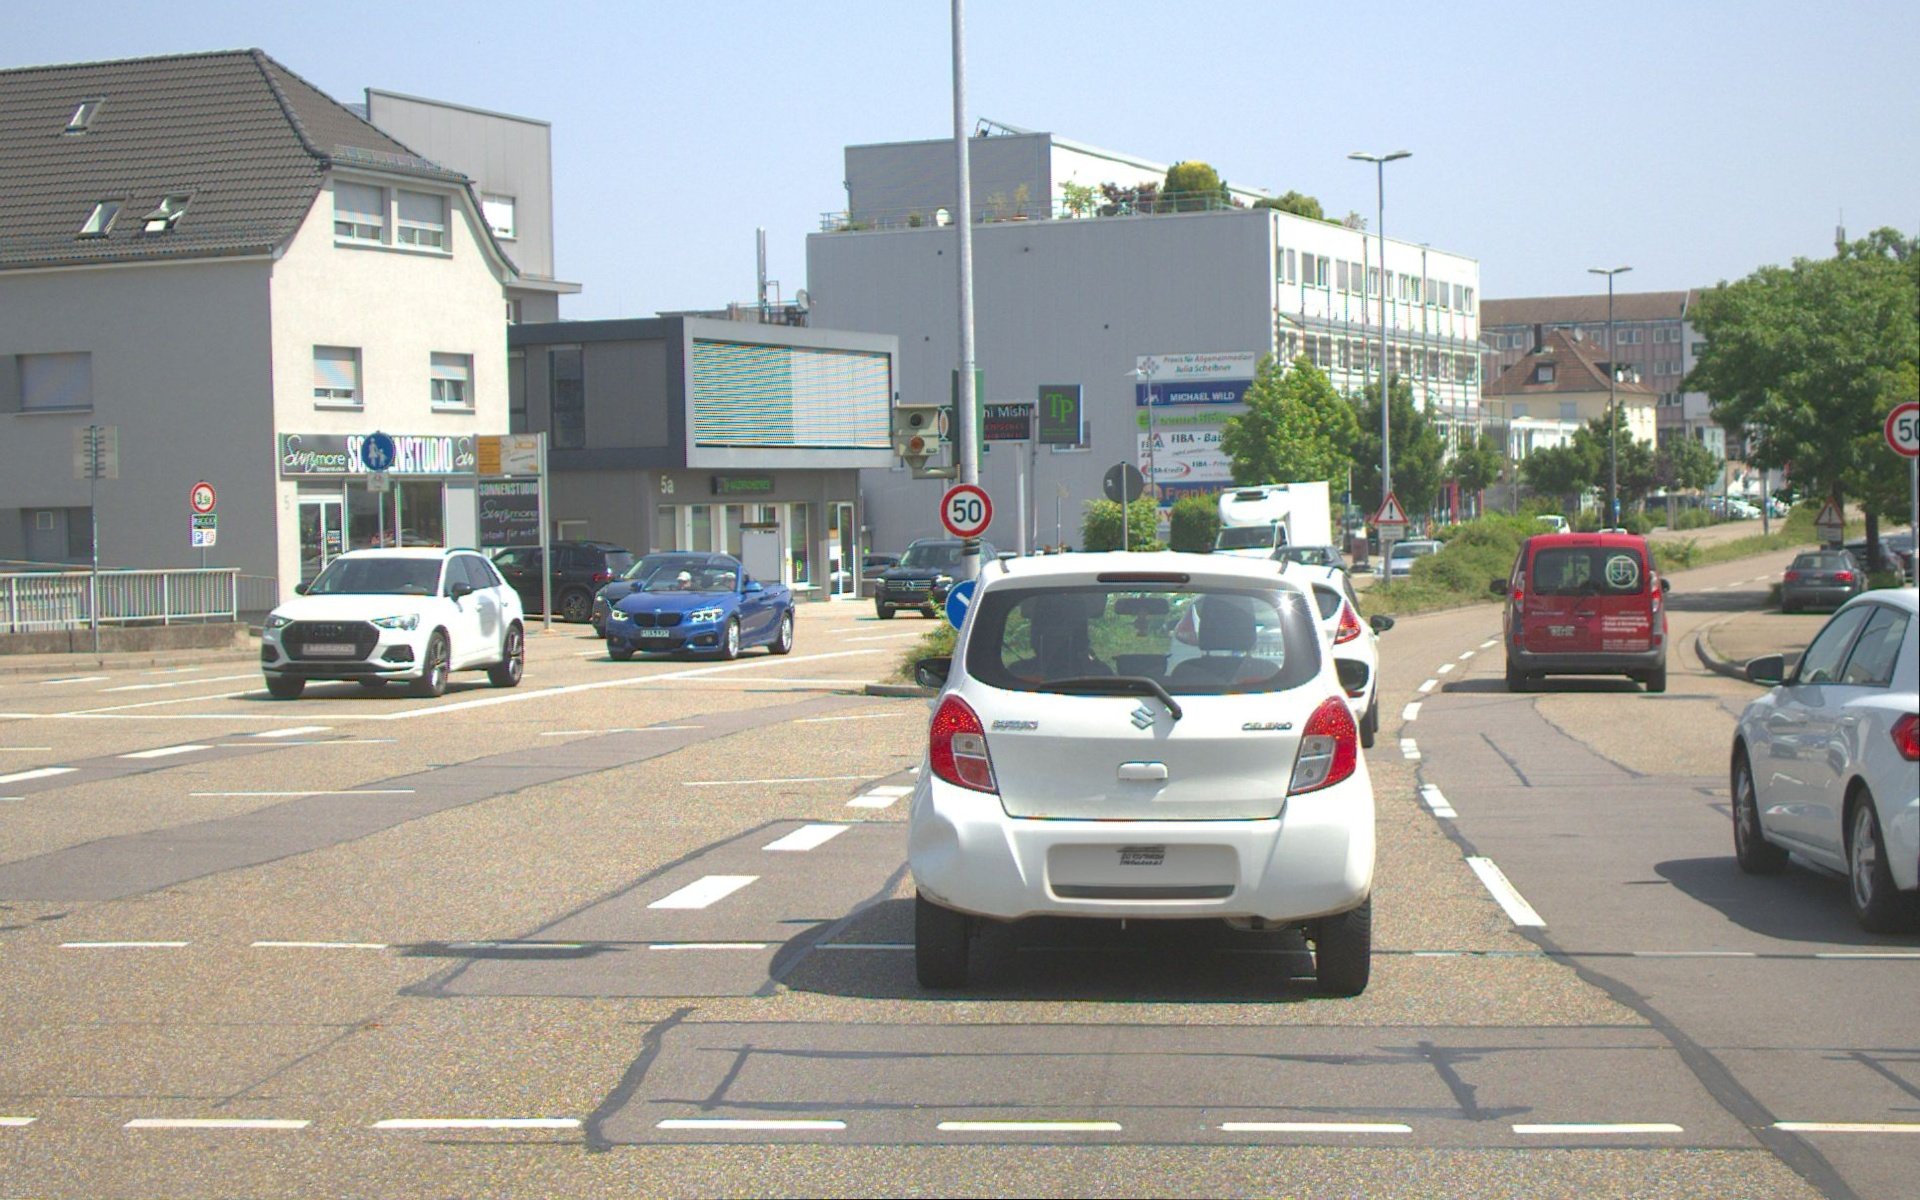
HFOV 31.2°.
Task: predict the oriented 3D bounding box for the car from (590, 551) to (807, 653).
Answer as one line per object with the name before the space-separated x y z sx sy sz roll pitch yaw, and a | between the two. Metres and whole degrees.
car | -3.634 -0.001 48.575 1.864 1.361 4.344 1 1 13

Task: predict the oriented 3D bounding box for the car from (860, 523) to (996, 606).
car | -0.646 -0.784 73.164 1.994 1.650 4.592 -1 1 11

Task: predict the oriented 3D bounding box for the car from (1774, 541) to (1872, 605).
car | 19.961 -0.642 79.402 1.799 1.401 4.316 1 2 19

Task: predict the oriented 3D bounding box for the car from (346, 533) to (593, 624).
car | -9.953 -0.455 69.773 4.610 1.621 1.852 3 2 21

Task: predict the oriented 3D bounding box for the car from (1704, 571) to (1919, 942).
car | 4.441 0.590 15.056 1.667 1.394 3.793 0 1 2

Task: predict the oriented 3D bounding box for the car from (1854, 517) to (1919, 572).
car | 29.256 -1.768 107.389 1.963 1.525 5.156 -3 1 21

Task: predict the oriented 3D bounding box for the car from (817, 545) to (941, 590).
car | -2.887 -1.175 122.657 3.974 1.462 1.963 -1 2 16

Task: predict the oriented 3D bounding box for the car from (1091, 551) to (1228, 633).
car | 3.700 -0.175 62.927 1.864 1.426 4.742 0 1 11

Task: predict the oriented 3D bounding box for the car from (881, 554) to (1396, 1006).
car | 0.563 0.591 13.138 1.712 1.505 3.247 0 0 -1

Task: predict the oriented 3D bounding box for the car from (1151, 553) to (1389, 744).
car | 2.596 0.349 28.546 1.830 1.445 3.999 0 1 6

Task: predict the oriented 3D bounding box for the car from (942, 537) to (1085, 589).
car | 1.596 -1.097 102.514 3.990 1.454 1.574 -1 0 16

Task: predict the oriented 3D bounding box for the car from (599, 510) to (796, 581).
car | -6.066 -1.262 79.463 4.060 1.516 1.998 -1 1 18

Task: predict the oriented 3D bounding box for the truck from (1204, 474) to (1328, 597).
truck | 8.865 -1.830 99.034 2.266 3.406 7.033 0 0 16

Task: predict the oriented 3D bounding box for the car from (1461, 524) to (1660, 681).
car | 6.893 -0.009 39.771 1.795 1.723 3.972 0 1 3

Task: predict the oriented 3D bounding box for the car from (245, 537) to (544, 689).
car | -6.141 0.088 37.900 1.817 1.565 4.554 0 1 10
